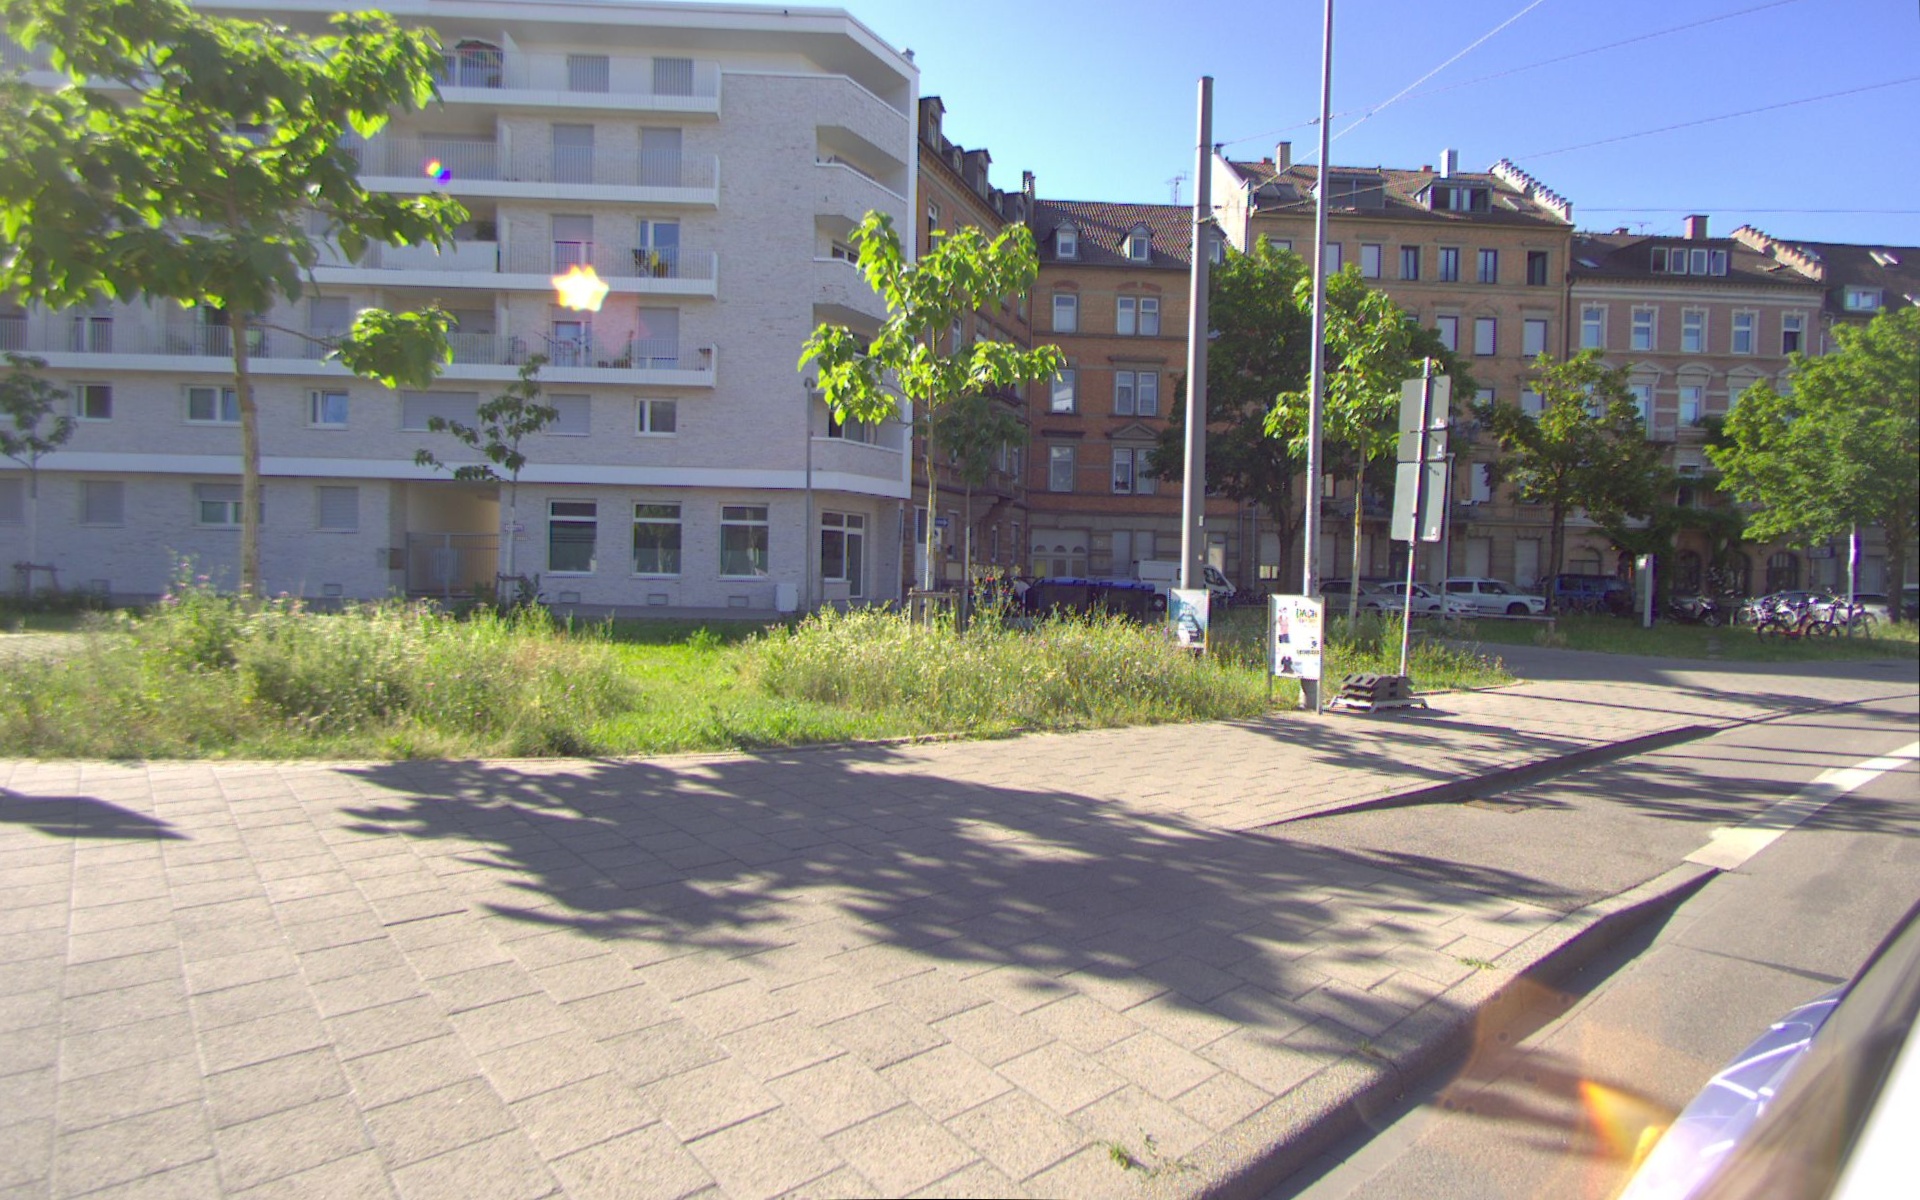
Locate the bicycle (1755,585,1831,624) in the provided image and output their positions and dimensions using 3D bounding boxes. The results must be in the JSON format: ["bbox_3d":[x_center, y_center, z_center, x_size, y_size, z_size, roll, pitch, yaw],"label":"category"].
[{"bbox_3d":[28.249,0.135,34.367,0.825,1.206,1.966,1,3,-3],"label":"bicycle"}]

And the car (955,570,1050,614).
[{"bbox_3d":[1.555,-0.304,35.682,1.979,1.454,4.074,1,1,24],"label":"car"}]

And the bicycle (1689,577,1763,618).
[{"bbox_3d":[26.613,-0.094,35.202,0.771,1.382,2.103,1,1,-8],"label":"bicycle"}]

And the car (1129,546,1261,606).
[{"bbox_3d":[10.236,-1.089,44.326,5.087,2.386,2.359,2,3,-1],"label":"car"}]

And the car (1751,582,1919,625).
[{"bbox_3d":[32.176,0.092,37.022,2.007,1.397,4.753,0,1,-35],"label":"car"}]

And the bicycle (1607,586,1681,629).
[{"bbox_3d":[23.466,0.230,34.762,0.771,1.416,2.104,1,1,-13],"label":"bicycle"}]

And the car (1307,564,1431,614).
[{"bbox_3d":[18.228,-0.521,45.244,4.632,2.001,2.002,2,3,-2],"label":"car"}]

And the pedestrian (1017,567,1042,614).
[{"bbox_3d":[2.380,-0.332,34.765,0.756,1.596,0.643,1,1,-3],"label":"pedestrian"}]

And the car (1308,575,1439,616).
[{"bbox_3d":[14.547,-0.188,35.819,1.802,1.354,4.063,1,1,-28],"label":"car"}]

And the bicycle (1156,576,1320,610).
[{"bbox_3d":[10.126,-0.280,37.152,5.116,1.141,2.687,1,1,-7],"label":"bicycle"}]

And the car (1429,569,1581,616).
[{"bbox_3d":[19.606,-0.303,36.580,1.900,1.585,4.473,1,1,-33],"label":"car"}]

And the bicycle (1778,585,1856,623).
[{"bbox_3d":[29.152,0.115,34.463,0.882,1.195,1.953,1,3,-3],"label":"bicycle"}]

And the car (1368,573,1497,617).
[{"bbox_3d":[16.859,-0.212,36.239,1.726,1.459,3.846,1,1,-33],"label":"car"}]

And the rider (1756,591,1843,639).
[{"bbox_3d":[22.002,0.384,26.560,1.652,1.191,0.501,-2,0,16],"label":"rider"}]

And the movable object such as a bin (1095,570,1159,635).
[{"bbox_3d":[3.853,0.046,23.280,1.286,1.416,1.066,2,1,18],"label":"movable object such as a bin"}]

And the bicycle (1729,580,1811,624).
[{"bbox_3d":[26.311,0.047,32.920,0.771,1.382,2.103,1,1,-8],"label":"bicycle"}]

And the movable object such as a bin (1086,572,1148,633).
[{"bbox_3d":[3.827,0.049,24.553,1.303,1.416,1.104,2,1,18],"label":"movable object such as a bin"}]

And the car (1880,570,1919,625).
[{"bbox_3d":[37.849,-0.024,37.729,2.061,2.037,4.882,-1,4,-36],"label":"car"}]

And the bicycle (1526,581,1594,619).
[{"bbox_3d":[22.925,-0.019,38.707,0.774,1.382,2.096,0,1,-42],"label":"bicycle"}]

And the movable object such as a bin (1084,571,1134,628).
[{"bbox_3d":[3.809,-0.028,25.844,1.076,1.416,1.026,2,1,18],"label":"movable object such as a bin"}]

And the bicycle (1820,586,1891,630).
[{"bbox_3d":[28.783,0.250,32.564,1.589,1.306,0.760,3,3,38],"label":"bicycle"}]

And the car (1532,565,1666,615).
[{"bbox_3d":[28.686,-0.484,45.542,4.632,2.001,2.002,2,3,-2],"label":"car"}]

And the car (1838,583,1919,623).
[{"bbox_3d":[35.085,0.124,37.434,1.889,1.397,3.615,0,1,-35],"label":"car"}]

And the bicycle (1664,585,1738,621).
[{"bbox_3d":[25.691,0.089,35.132,0.806,1.173,2.172,0,1,-6],"label":"bicycle"}]
